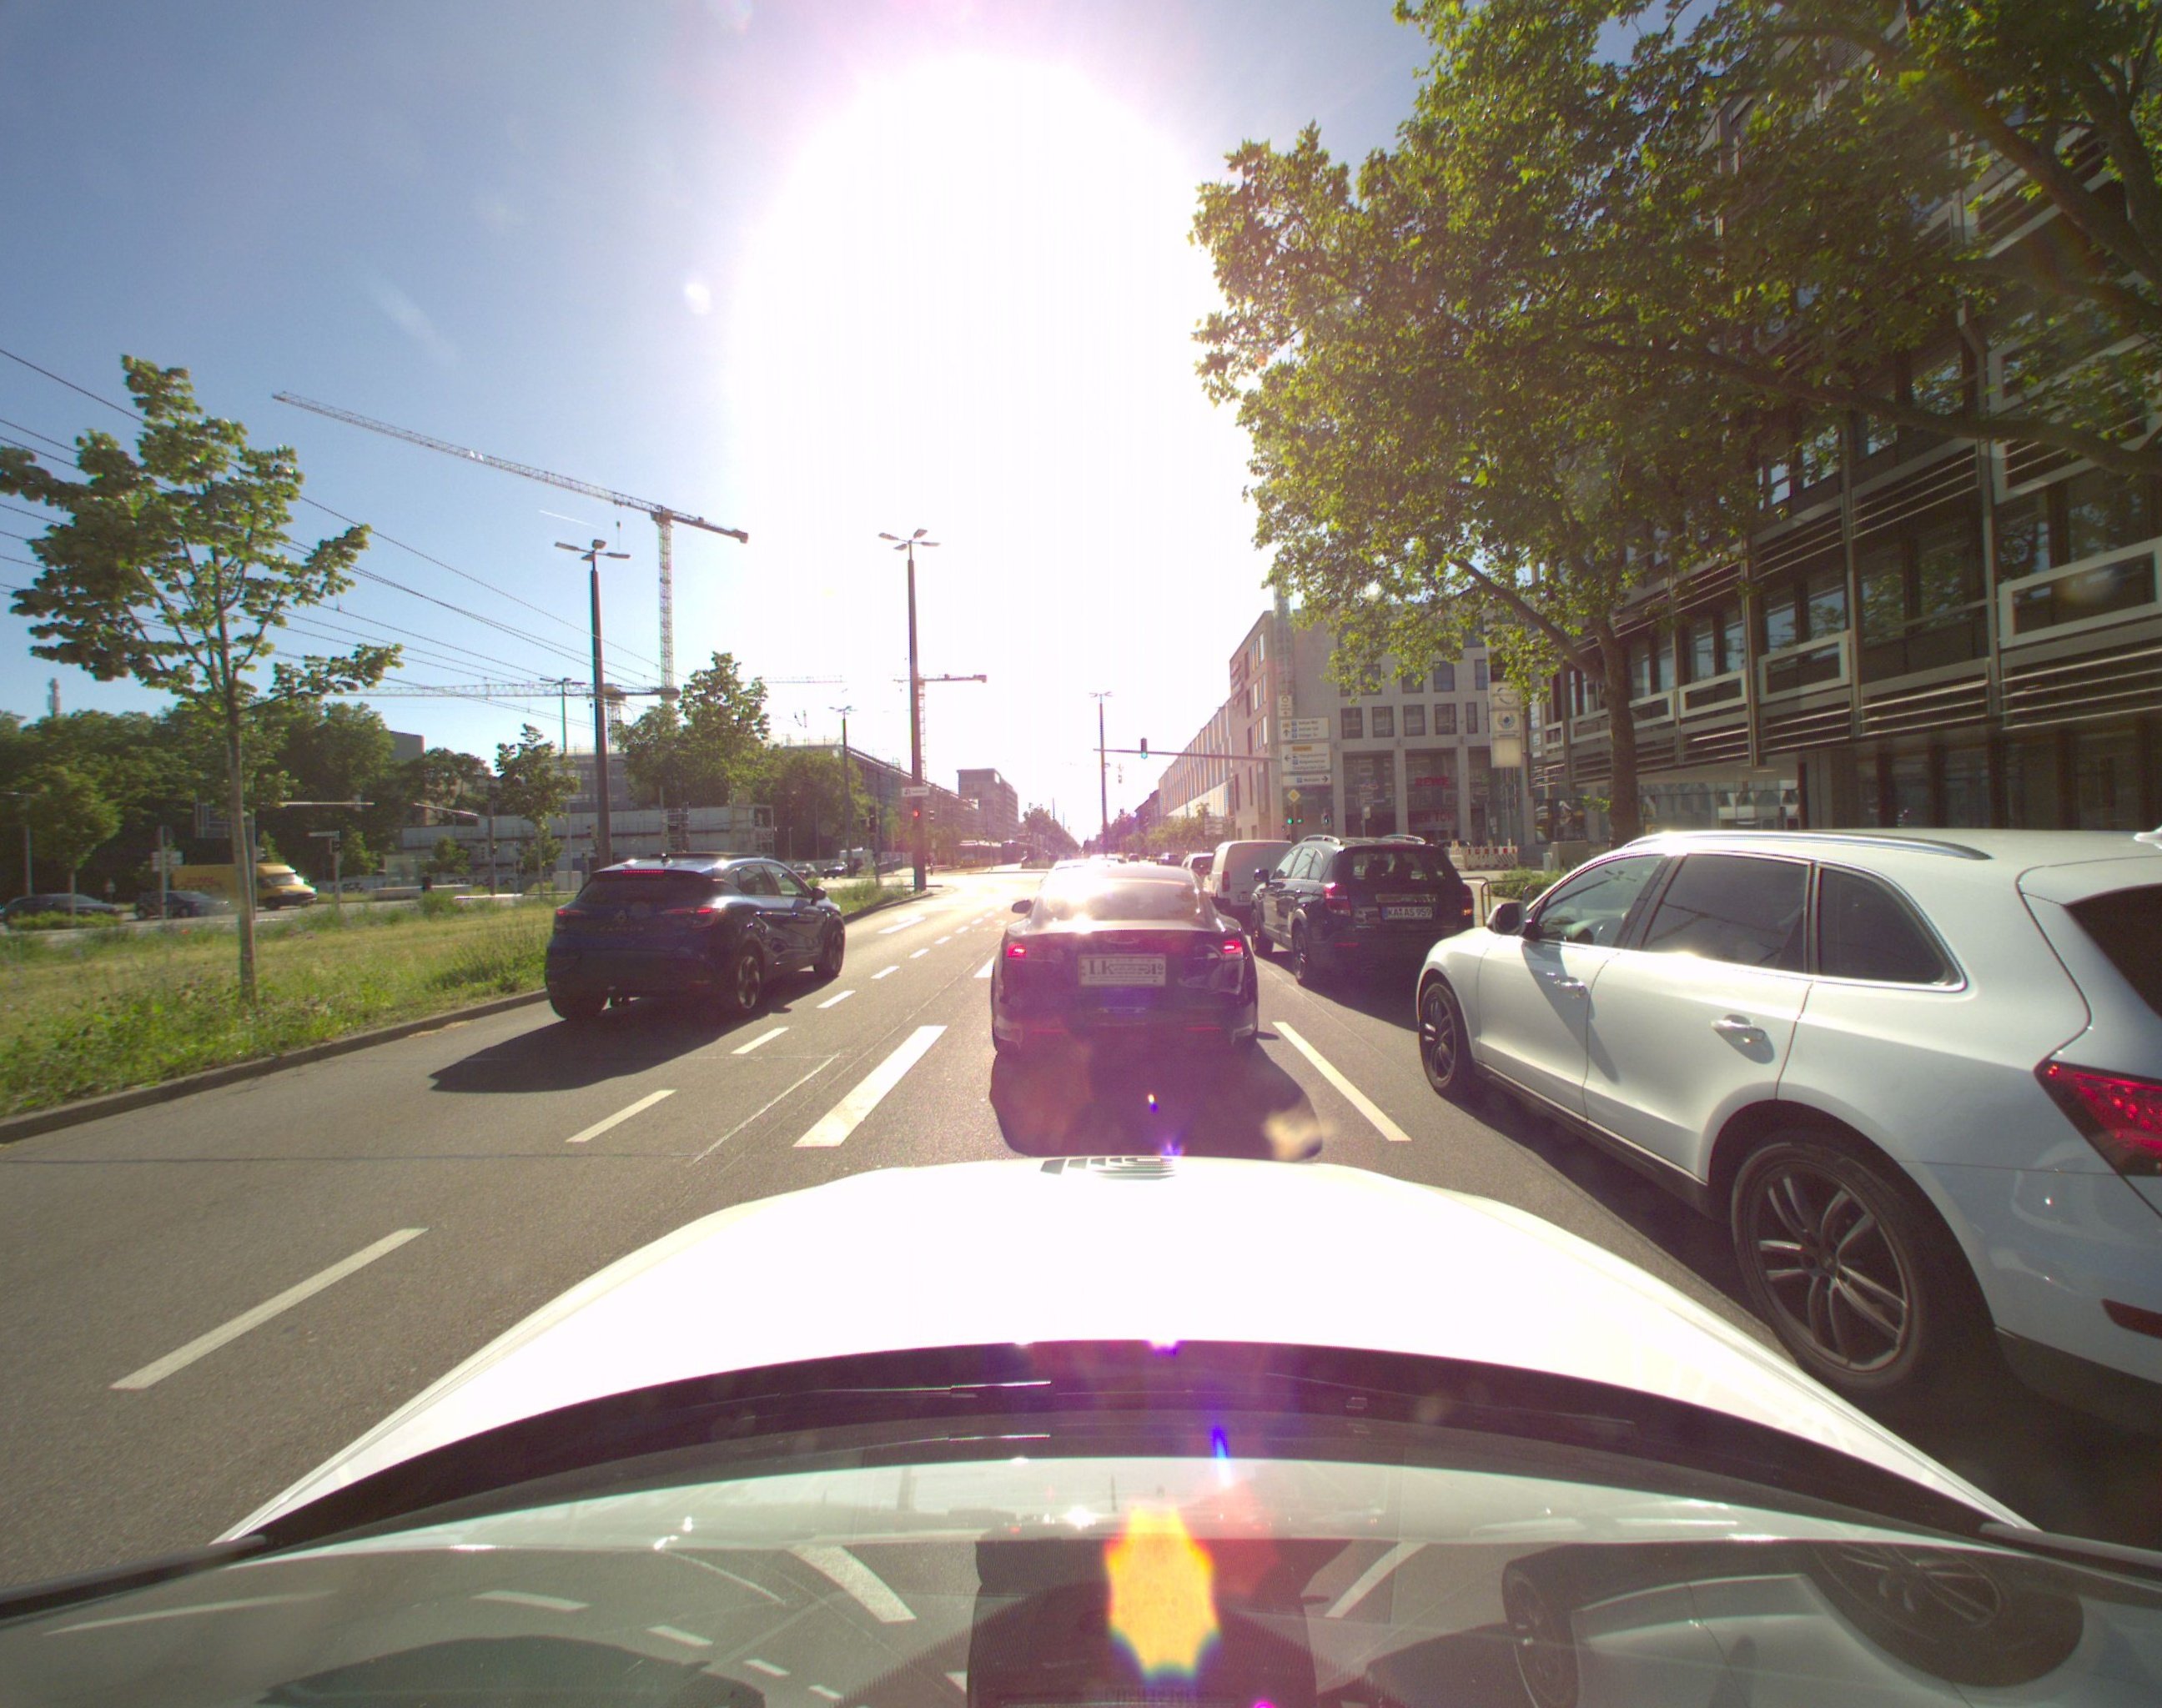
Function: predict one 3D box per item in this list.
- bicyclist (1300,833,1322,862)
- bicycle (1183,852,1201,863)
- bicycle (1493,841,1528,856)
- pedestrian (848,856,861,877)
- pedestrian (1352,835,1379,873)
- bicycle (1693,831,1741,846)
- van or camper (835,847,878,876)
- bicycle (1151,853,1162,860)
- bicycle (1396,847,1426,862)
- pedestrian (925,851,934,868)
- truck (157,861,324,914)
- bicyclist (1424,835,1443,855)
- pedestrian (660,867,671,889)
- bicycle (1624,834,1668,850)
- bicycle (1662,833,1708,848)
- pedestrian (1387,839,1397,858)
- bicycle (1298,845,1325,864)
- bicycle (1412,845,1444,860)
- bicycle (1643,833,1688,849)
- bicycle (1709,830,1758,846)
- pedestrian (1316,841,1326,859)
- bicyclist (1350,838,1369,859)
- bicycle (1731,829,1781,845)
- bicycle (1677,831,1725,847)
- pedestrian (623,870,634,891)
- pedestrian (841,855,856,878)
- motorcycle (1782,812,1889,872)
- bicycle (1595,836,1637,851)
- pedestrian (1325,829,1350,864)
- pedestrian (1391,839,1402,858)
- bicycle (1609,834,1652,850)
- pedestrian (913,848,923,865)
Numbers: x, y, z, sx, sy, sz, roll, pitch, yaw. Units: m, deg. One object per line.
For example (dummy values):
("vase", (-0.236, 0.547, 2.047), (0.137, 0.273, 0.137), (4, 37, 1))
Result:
("bicyclist", (12.325, -0.346, 43.635), (0.878, 1.477, 0.884), (-2, 0, 1))
("bicycle", (13.181, 0.366, 96.894), (2.074, 1.205, 0.952), (-3, 0, 7))
("bicycle", (32.890, -0.420, 62.425), (1.061, 1.094, 3.501), (-2, 0, 4))
("pedestrian", (-19.610, 1.080, 70.664), (0.797, 1.823, 0.976), (-2, 0, -2))
("pedestrian", (15.287, 0.008, 43.755), (0.945, 2.013, 1.077), (-2, 0, -6))
("bicycle", (48.028, -1.143, 61.587), (1.061, 1.094, 3.501), (-2, 0, 4))
("van or camper", (-24.514, 0.796, 89.176), (2.597, 2.937, 7.340), (-2, 0, 0))
("bicycle", (13.652, 0.483, 147.171), (1.881, 1.151, 0.669), (-4, 0, -10))
("bicycle", (25.425, 0.002, 62.855), (1.061, 1.094, 3.500), (-2, 0, 3))
("pedestrian", (-16.546, 0.561, 88.930), (0.797, 1.823, 0.976), (-2, 0, -2))
("truck", (-50.020, 1.974, 48.545), (7.966, 2.792, 2.467), (-2, 0, 6))
("bicyclist", (25.871, -0.657, 59.813), (0.928, 1.433, 1.042), (-2, 0, 5))
("pedestrian", (-35.128, 2.020, 68.851), (0.704, 1.823, 0.589), (-2, 0, -36))
("bicycle", (42.857, -0.902, 61.842), (1.061, 1.094, 3.501), (-2, 0, 4))
("bicycle", (45.632, -1.005, 61.575), (1.061, 1.094, 3.501), (-2, 0, 4))
("pedestrian", (28.808, -0.527, 75.387), (0.559, 1.762, 0.643), (-3, 1, -35))
("bicycle", (12.342, 0.019, 43.611), (0.878, 0.984, 2.051), (-2, 0, 1))
("bicycle", (26.700, -0.149, 62.715), (1.061, 1.094, 3.500), (-2, 0, 3))
("bicycle", (44.287, -0.957, 61.790), (1.061, 1.094, 3.501), (-2, 0, 4))
("bicycle", (49.183, -1.200, 61.461), (1.061, 1.094, 3.501), (-2, 0, 4))
("pedestrian", (21.451, -0.354, 72.776), (0.745, 1.607, 0.556), (-2, 1, 0))
("bicyclist", (20.431, -0.382, 59.802), (1.017, 1.476, 1.073), (-2, 0, 5))
("bicycle", (50.784, -1.273, 61.342), (1.061, 1.094, 3.501), (-2, 0, 4))
("bicycle", (46.858, -1.133, 61.616), (1.061, 1.094, 3.501), (-2, 0, 4))
("pedestrian", (-39.601, 2.310, 71.232), (0.704, 1.823, 0.589), (-2, 0, -36))
("pedestrian", (-19.618, 1.060, 68.795), (0.792, 1.823, 0.887), (-2, 0, 33))
("motorcycle", (19.544, -0.300, 21.168), (0.820, 1.441, 2.123), (-2, 0, 2))
("bicycle", (40.520, -0.758, 61.783), (1.061, 1.094, 3.501), (-2, 0, 4))
("pedestrian", (14.916, -0.437, 47.370), (0.946, 2.013, 1.076), (-2, 0, -10))
("pedestrian", (29.361, -0.491, 75.816), (0.559, 1.762, 0.643), (-3, 1, -35))
("bicycle", (41.702, -0.888, 61.899), (1.061, 1.094, 3.501), (-2, 0, 4))
("pedestrian", (-17.303, 0.264, 86.661), (0.797, 1.823, 0.976), (-2, 0, -2))
